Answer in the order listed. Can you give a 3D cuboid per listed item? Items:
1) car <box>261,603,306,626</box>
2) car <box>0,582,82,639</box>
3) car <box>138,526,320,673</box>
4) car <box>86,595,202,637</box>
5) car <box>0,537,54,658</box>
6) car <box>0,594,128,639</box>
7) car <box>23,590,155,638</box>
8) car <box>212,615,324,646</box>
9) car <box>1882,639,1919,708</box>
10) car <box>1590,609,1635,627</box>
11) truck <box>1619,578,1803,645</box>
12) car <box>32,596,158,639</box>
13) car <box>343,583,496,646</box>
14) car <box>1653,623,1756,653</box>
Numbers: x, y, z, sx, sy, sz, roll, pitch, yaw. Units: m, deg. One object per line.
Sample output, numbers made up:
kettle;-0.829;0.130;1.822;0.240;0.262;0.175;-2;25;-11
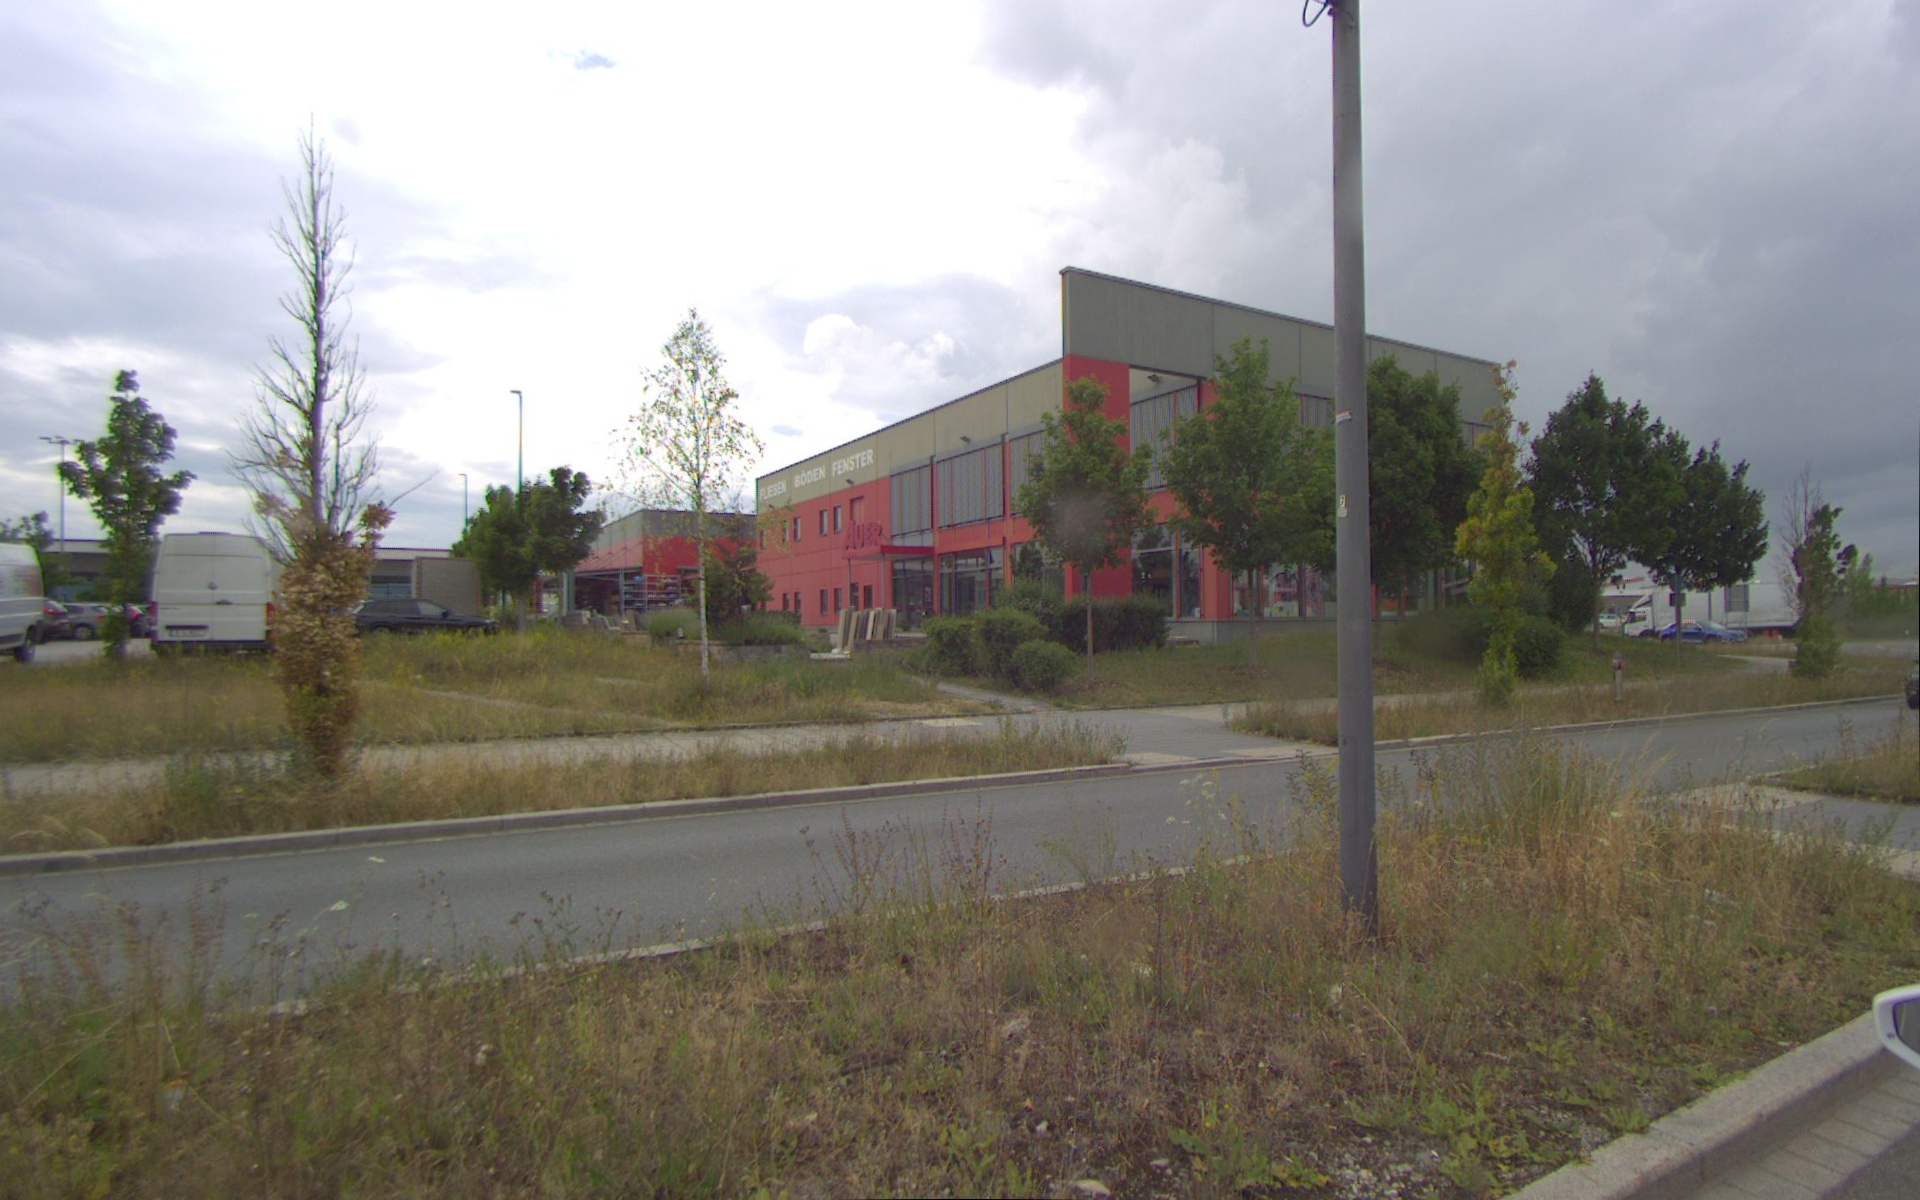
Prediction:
car;-48.638;1.047;72.295;1.972;1.628;3.978;1;-1;-23
car;-32.079;0.350;33.284;4.224;1.874;1.981;1;-2;-35
car;-15.288;0.054;21.433;2.215;2.633;6.382;1;-1;-28
car;-40.261;0.809;49.657;3.935;2.040;1.993;1;-2;-17
car;-19.726;-0.059;19.218;2.183;2.337;6.042;1;-1;-29
car;-35.630;0.664;39.765;3.959;1.693;1.981;1;-1;-35
car;-38.487;0.645;44.494;3.943;2.040;1.989;1;-1;-23
car;-38.532;1.680;56.126;4.999;1.673;1.984;1;-2;-31
car;21.748;1.535;21.595;3.956;1.425;1.832;1;-4;-33
car;76.277;2.083;117.443;1.979;2.040;3.964;1;-1;-33
truck;47.895;0.799;64.280;9.200;3.958;3.127;-1;-2;42
car;-40.010;0.812;46.584;3.943;1.922;1.989;1;-1;-23
car;-18.860;0.543;35.147;4.586;2.060;1.983;1;-2;-32
car;39.488;2.048;53.393;1.815;1.548;4.220;0;-3;-12
